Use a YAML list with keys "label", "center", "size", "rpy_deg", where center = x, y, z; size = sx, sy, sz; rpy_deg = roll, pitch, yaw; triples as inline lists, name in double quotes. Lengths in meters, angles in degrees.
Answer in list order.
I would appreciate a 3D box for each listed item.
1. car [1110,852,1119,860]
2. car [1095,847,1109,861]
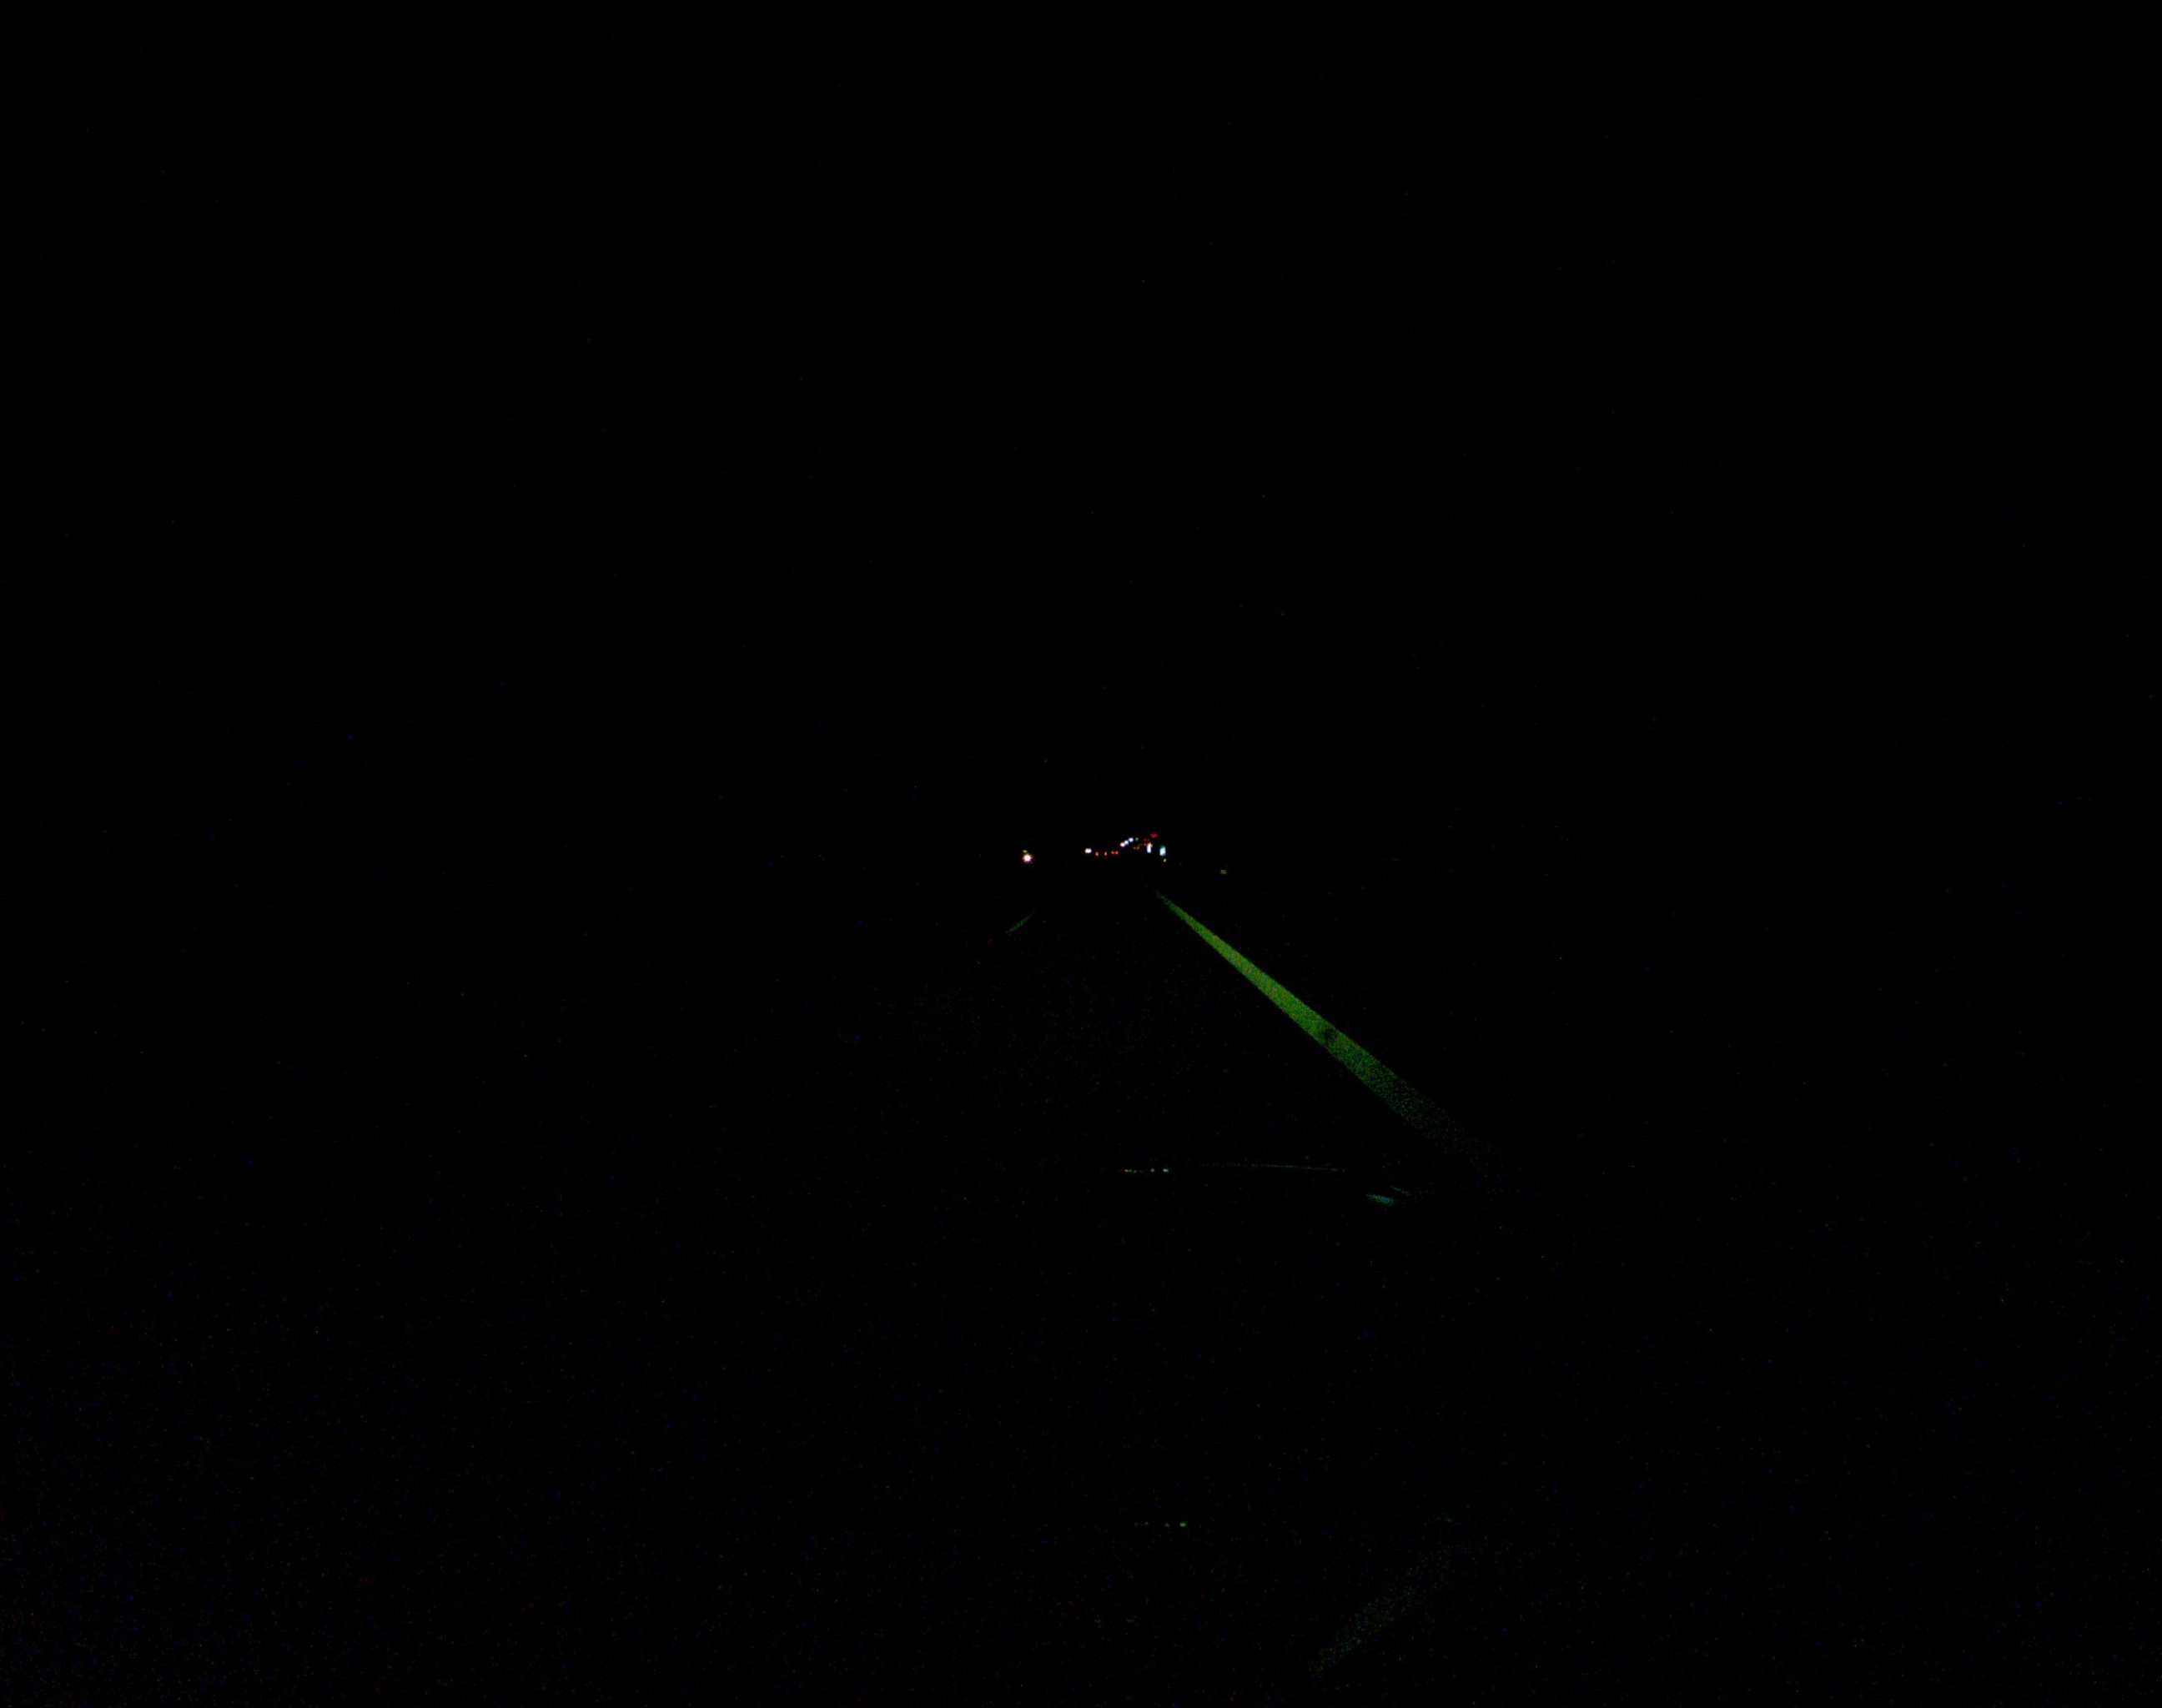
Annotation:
- label: "car"
  center: [10.764, 0.629, 263.212]
  size: [2.775, 2.733, 6.304]
  rpy_deg: [-1, 0, 3]
- label: "car"
  center: [4.260, -0.040, 168.295]
  size: [2.776, 2.733, 6.301]
  rpy_deg: [-1, 0, 2]
